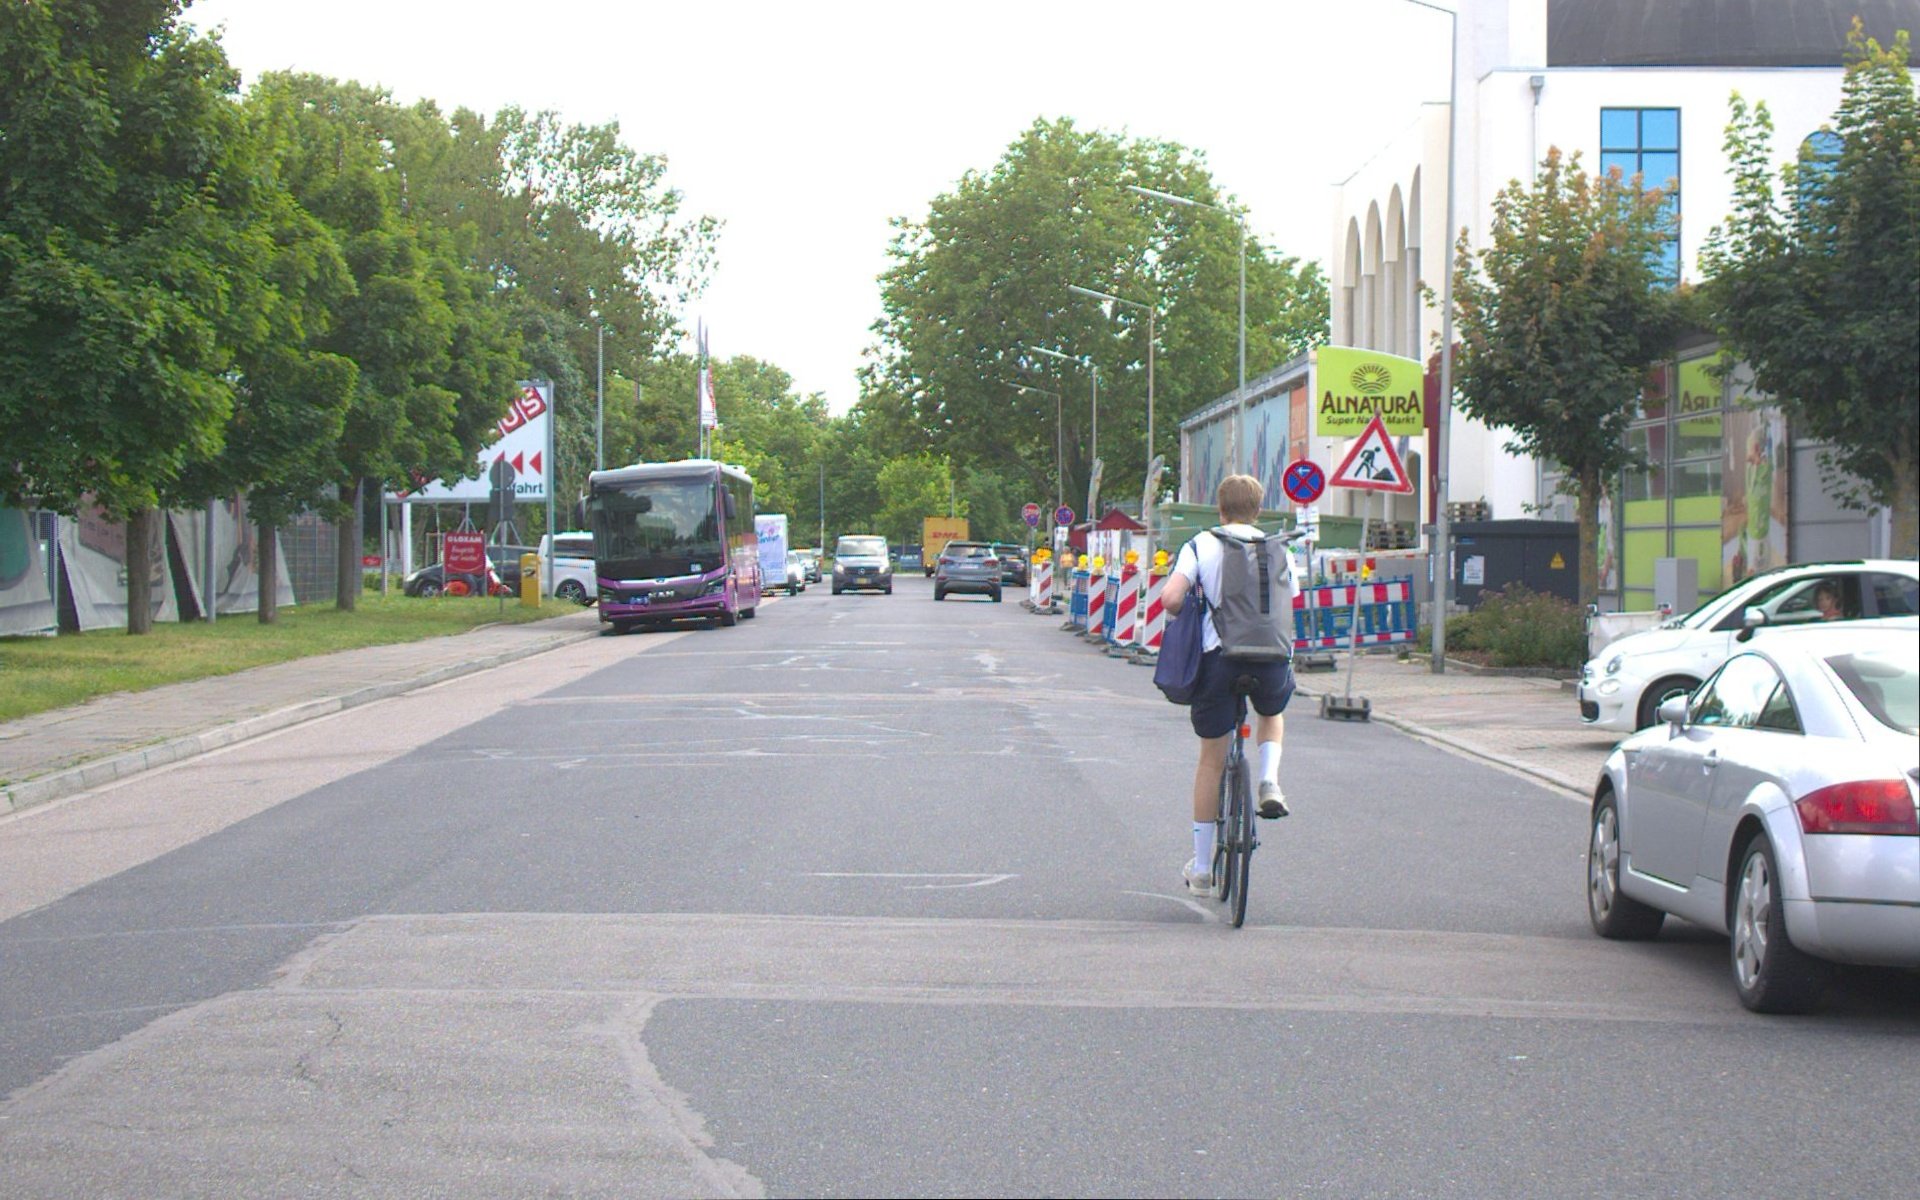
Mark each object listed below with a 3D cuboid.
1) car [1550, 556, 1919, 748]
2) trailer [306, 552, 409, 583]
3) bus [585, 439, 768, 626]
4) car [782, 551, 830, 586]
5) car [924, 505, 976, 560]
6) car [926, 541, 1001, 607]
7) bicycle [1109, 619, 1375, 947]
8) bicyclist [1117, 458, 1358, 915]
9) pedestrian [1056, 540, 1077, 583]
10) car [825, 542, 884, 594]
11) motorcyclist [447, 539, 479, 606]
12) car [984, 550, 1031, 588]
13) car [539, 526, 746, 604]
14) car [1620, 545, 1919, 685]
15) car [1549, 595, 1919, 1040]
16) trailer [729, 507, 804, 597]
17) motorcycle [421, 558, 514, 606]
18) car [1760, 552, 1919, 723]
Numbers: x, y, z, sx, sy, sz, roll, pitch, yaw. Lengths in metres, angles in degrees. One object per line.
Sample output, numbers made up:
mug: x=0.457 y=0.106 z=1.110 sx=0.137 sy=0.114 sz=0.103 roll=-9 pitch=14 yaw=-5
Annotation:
car: x=6.738 y=0.398 z=28.056 sx=3.600 sy=1.465 sz=1.688 roll=-1 pitch=1 yaw=4
trailer: x=-24.449 y=-1.325 z=139.635 sx=3.818 sy=1.186 sz=1.714 roll=0 pitch=1 yaw=6
bus: x=-5.749 y=-1.379 z=71.816 sx=2.663 sy=3.411 sz=13.219 roll=-3 pitch=1 yaw=0
car: x=-6.579 y=-1.370 z=147.250 sx=1.709 sy=1.415 sz=4.331 roll=-2 pitch=1 yaw=1
car: x=-0.510 y=-3.266 z=165.794 sx=2.198 sy=2.569 sz=6.406 roll=0 pitch=1 yaw=-3
car: x=0.068 y=-0.753 z=97.718 sx=1.962 sy=1.809 sz=4.276 roll=0 pitch=1 yaw=-2
bicycle: x=1.126 y=0.701 z=14.342 sx=0.798 sy=1.176 sz=2.627 roll=2 pitch=1 yaw=-1
bicyclist: x=1.131 y=0.340 z=14.262 sx=0.806 sy=1.786 sz=1.207 roll=2 pitch=0 yaw=-1
pedestrian: x=3.809 y=-1.365 z=122.688 sx=0.681 sy=1.528 sz=1.130 roll=1 pitch=0 yaw=0
car: x=-3.375 y=-1.056 z=110.410 sx=1.868 sy=1.624 sz=4.128 roll=0 pitch=1 yaw=-1
motorcyclist: x=-12.789 y=-0.721 z=88.491 sx=0.674 sy=1.717 sz=0.994 roll=0 pitch=1 yaw=0
car: x=1.908 y=-1.244 z=137.484 sx=1.808 sy=1.386 sz=4.588 roll=3 pitch=1 yaw=1
car: x=-8.111 y=-0.904 z=88.104 sx=5.001 sy=1.942 sz=1.992 roll=0 pitch=1 yaw=5
car: x=9.643 y=0.136 z=38.304 sx=4.102 sy=1.458 sz=1.990 roll=-1 pitch=1 yaw=-3
car: x=3.488 y=0.737 z=13.065 sx=1.661 sy=1.336 sz=3.985 roll=4 pitch=1 yaw=-1
trailer: x=-6.258 y=-1.563 z=111.778 sx=2.139 sy=2.773 sz=4.703 roll=-2 pitch=1 yaw=-1
motorcycle: x=-12.666 y=-0.463 z=88.485 sx=2.221 sy=1.209 sz=0.994 roll=0 pitch=1 yaw=0
car: x=9.387 y=0.281 z=30.316 sx=4.179 sy=1.425 sz=1.807 roll=-1 pitch=1 yaw=-3
